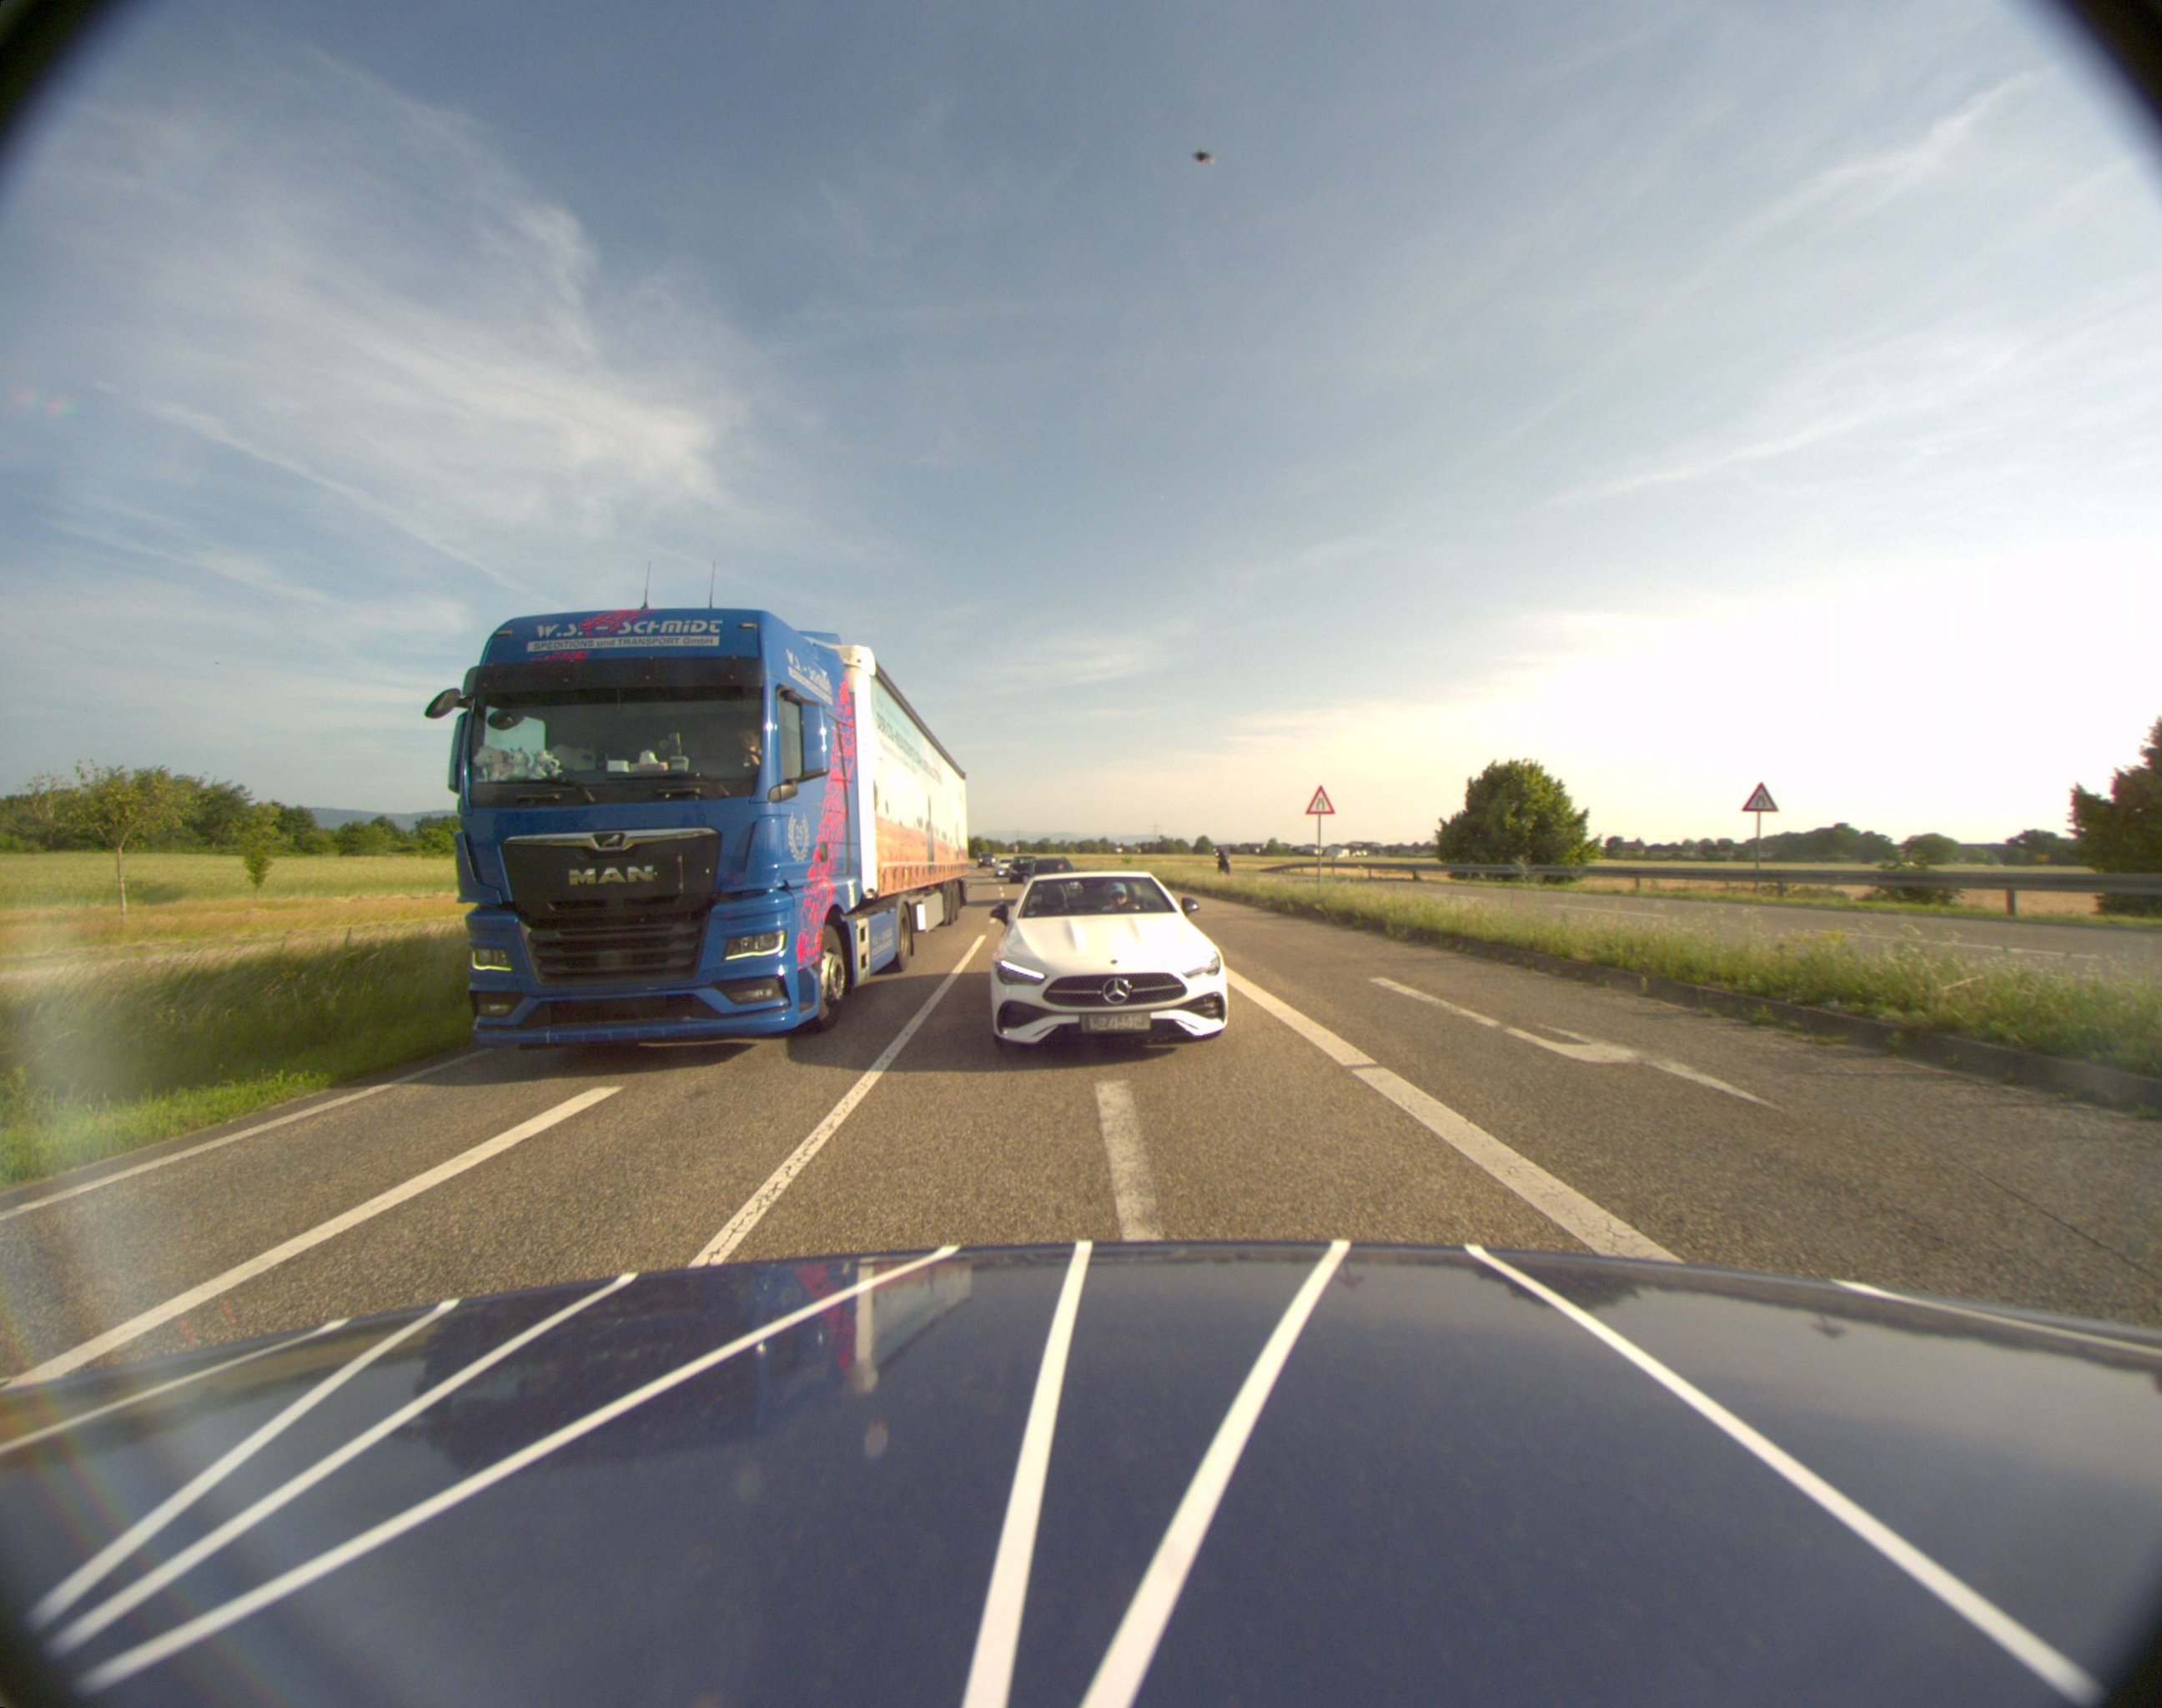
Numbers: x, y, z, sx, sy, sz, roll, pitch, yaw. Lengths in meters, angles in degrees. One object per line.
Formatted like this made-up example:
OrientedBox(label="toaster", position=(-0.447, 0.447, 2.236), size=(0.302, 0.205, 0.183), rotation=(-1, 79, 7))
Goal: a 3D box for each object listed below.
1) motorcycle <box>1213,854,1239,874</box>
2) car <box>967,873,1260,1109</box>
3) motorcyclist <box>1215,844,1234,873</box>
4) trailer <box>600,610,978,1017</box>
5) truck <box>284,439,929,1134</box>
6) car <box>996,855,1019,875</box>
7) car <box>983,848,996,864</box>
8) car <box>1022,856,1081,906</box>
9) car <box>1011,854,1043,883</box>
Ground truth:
OrientedBox(label="motorcycle", position=(8.956, 0.605, 46.991), size=(0.940, 1.118, 2.169), rotation=(-2, 0, -5))
OrientedBox(label="car", position=(0.168, 0.975, 7.095), size=(1.941, 1.389, 3.917), rotation=(-2, 1, -2))
OrientedBox(label="motorcyclist", position=(8.890, 0.293, 47.070), size=(0.906, 1.748, 0.831), rotation=(-2, 1, -6))
OrientedBox(label="trailer", position=(-4.240, -0.582, 15.411), size=(3.291, 4.654, 13.139), rotation=(-2, 1, -4))
OrientedBox(label="truck", position=(-3.740, -0.506, 8.050), size=(3.309, 4.631, 5.729), rotation=(-2, 1, -4))
OrientedBox(label="car", position=(-5.473, 0.790, 56.269), size=(1.558, 1.392, 4.032), rotation=(-1, 0, -8))
OrientedBox(label="car", position=(-11.272, 0.283, 93.550), size=(1.558, 1.909, 4.032), rotation=(-1, 0, -8))
OrientedBox(label="car", position=(-1.042, 0.851, 25.454), size=(1.586, 1.496, 3.658), rotation=(-1, 0, -8))
OrientedBox(label="car", position=(-3.098, 0.791, 43.378), size=(1.558, 1.550, 3.046), rotation=(-1, 0, -8))
